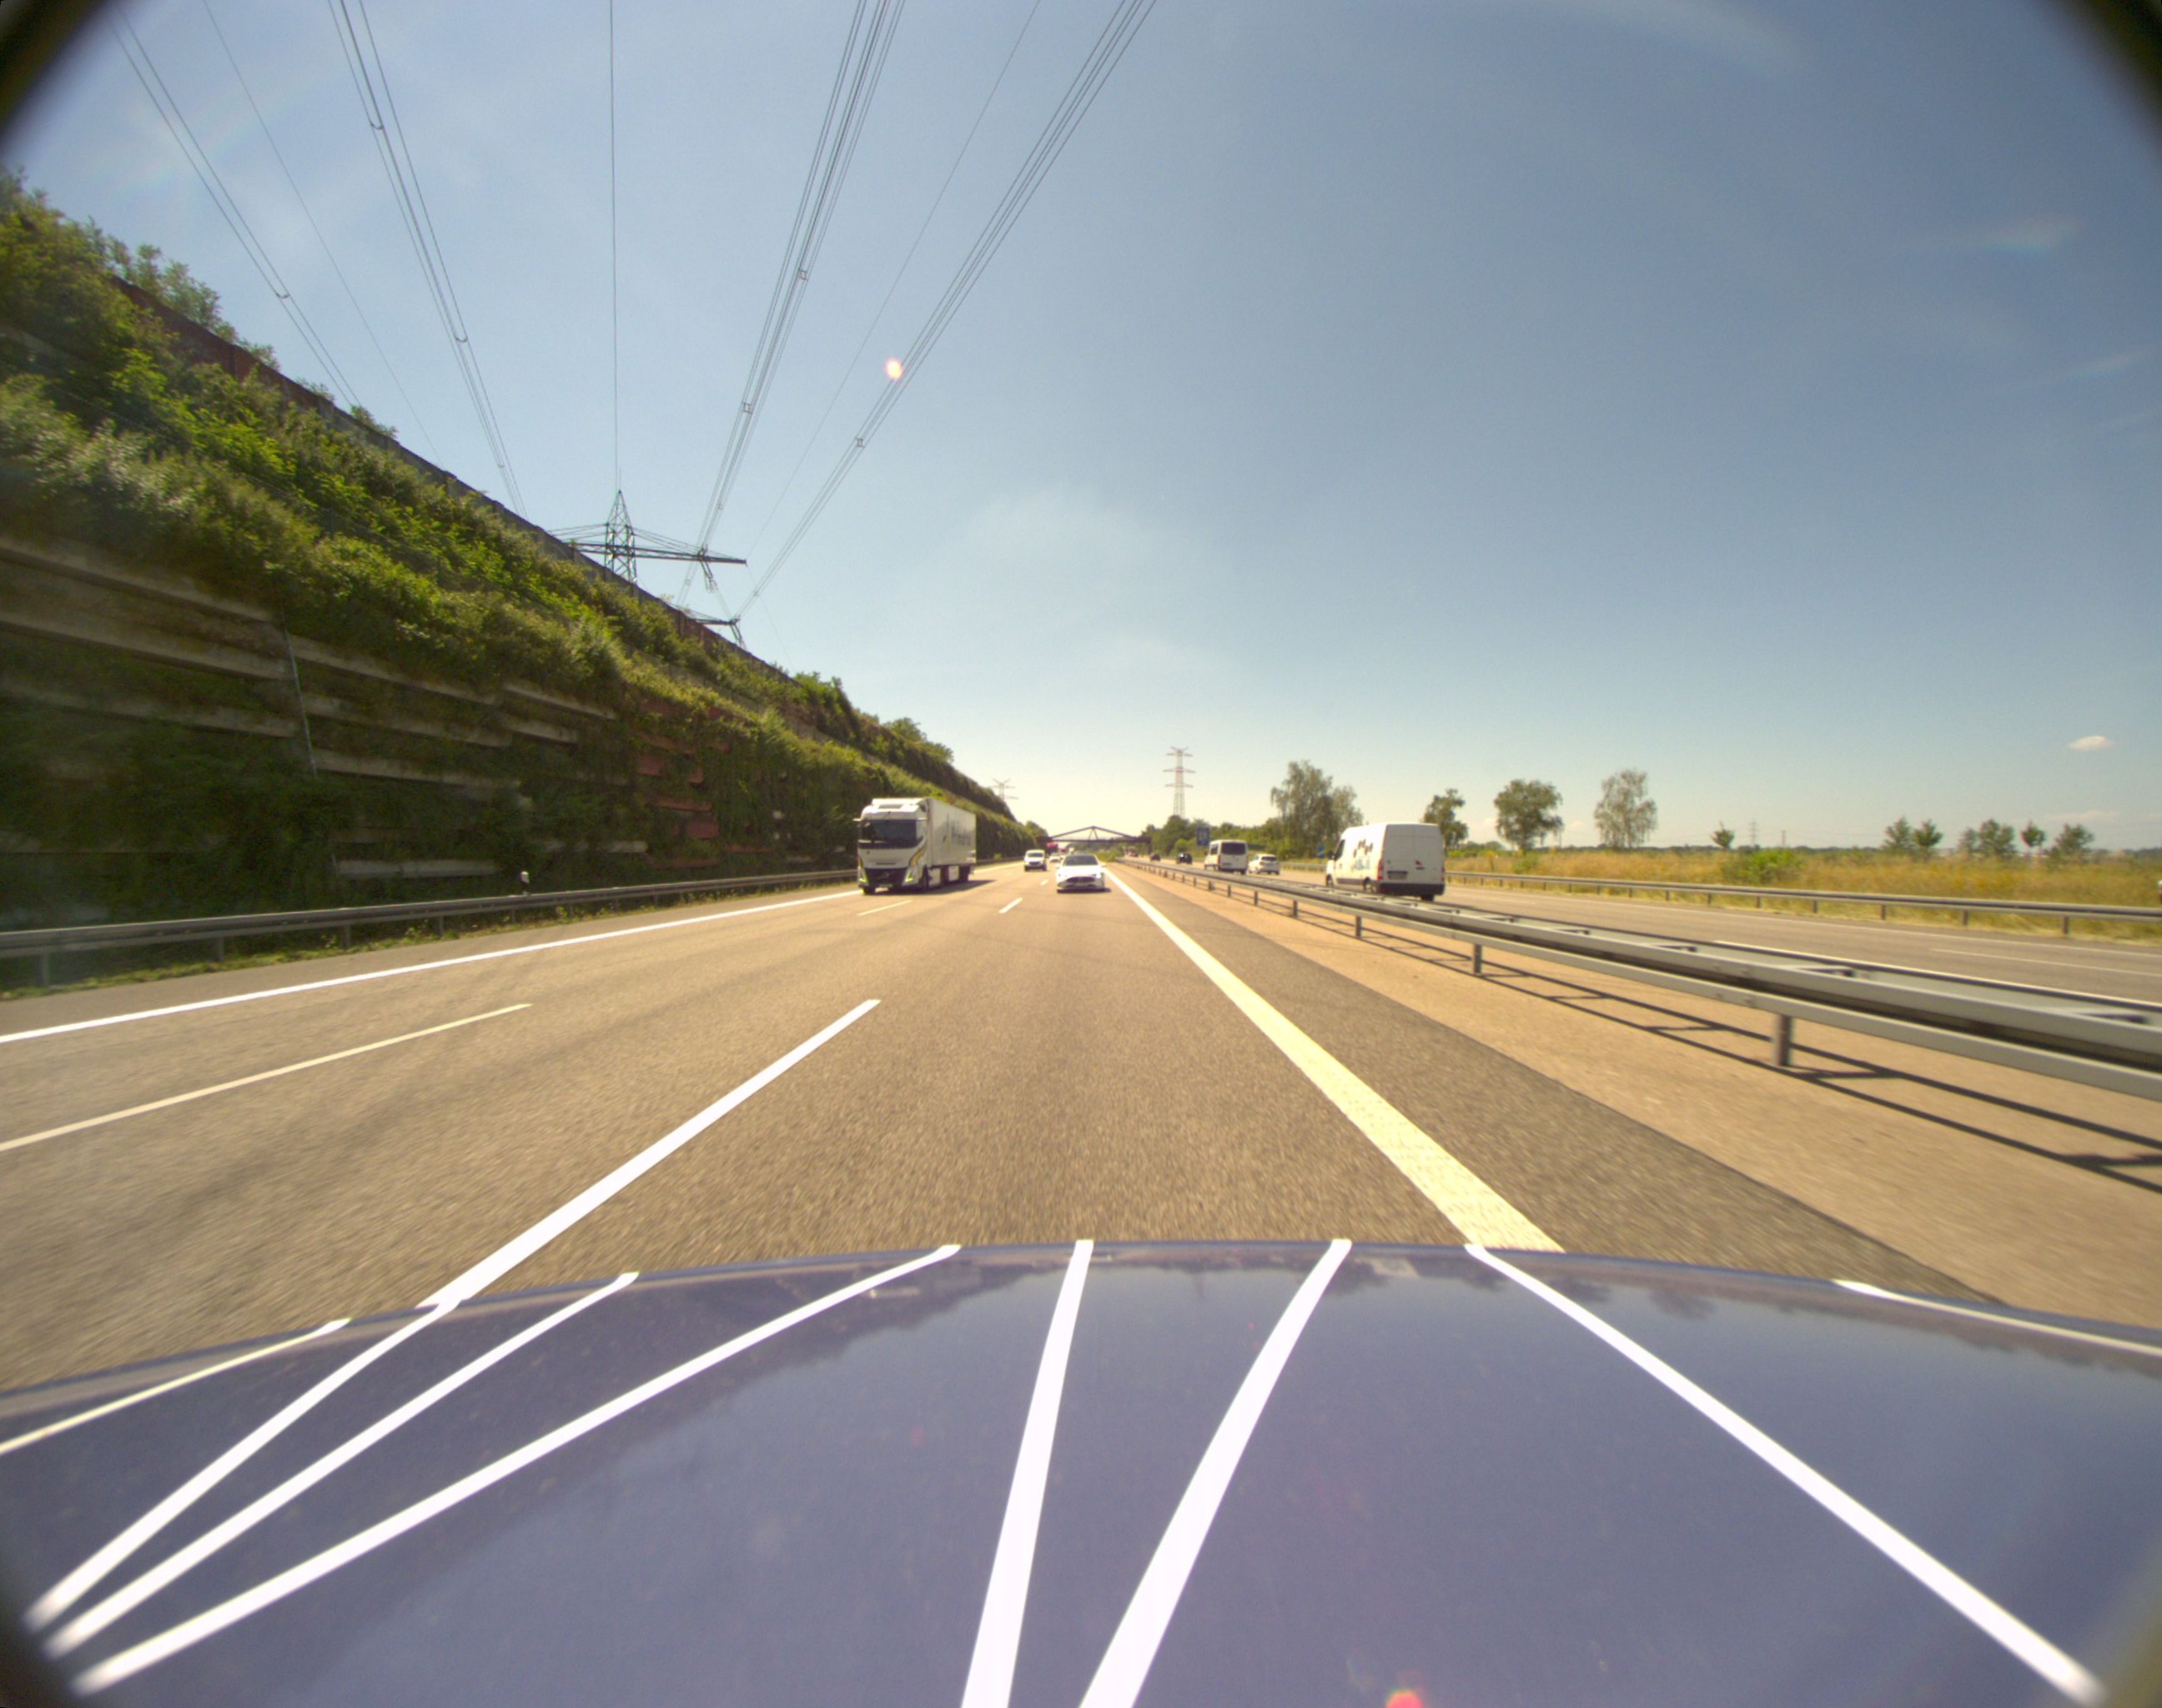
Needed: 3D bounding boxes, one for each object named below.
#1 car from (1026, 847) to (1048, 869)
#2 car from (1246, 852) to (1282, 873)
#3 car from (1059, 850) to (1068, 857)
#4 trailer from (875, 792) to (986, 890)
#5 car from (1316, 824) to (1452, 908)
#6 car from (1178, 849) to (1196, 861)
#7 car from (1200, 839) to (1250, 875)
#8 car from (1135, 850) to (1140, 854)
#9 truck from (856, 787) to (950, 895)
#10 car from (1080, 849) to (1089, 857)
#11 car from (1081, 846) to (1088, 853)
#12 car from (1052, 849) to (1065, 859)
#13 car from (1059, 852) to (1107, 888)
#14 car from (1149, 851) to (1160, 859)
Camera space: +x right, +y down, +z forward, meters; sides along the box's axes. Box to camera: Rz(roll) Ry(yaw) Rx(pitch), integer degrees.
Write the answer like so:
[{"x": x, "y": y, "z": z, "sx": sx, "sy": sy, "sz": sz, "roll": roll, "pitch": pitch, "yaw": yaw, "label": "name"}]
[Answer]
[{"x": -3.803, "y": 0.338, "z": 66.219, "sx": 1.784, "sy": 1.783, "sz": 3.999, "roll": -1, "pitch": 0, "yaw": -1, "label": "car"}, {"x": 14.431, "y": 0.607, "z": 60.031, "sx": 1.712, "sy": 1.515, "sz": 4.513, "roll": 2, "pitch": 1, "yaw": 0, "label": "car"}, {"x": -3.488, "y": -0.151, "z": 155.538, "sx": 1.784, "sy": 1.475, "sz": 3.999, "roll": -1, "pitch": 0, "yaw": -1, "label": "car"}, {"x": -7.476, "y": -0.601, "z": 40.955, "sx": 2.521, "sy": 4.187, "sz": 17.025, "roll": 0, "pitch": 0, "yaw": 0, "label": "trailer"}, {"x": 9.831, "y": 0.331, "z": 25.324, "sx": 2.053, "sy": 2.424, "sz": 6.068, "roll": 1, "pitch": 1, "yaw": 0, "label": "car"}, {"x": 14.663, "y": 0.148, "z": 105.721, "sx": 1.845, "sy": 1.620, "sz": 4.413, "roll": 2, "pitch": 0, "yaw": 0, "label": "car"}, {"x": 9.634, "y": 0.152, "z": 51.339, "sx": 2.114, "sy": 2.284, "sz": 6.706, "roll": 0, "pitch": 0, "yaw": 0, "label": "car"}, {"x": 19.204, "y": -0.662, "z": 258.230, "sx": 1.545, "sy": 1.441, "sz": 4.798, "roll": 1, "pitch": 0, "yaw": 0, "label": "car"}, {"x": -7.515, "y": -0.539, "z": 32.880, "sx": 2.514, "sy": 4.196, "sz": 6.255, "roll": 0, "pitch": 1, "yaw": 1, "label": "truck"}, {"x": 0.708, "y": -0.157, "z": 150.790, "sx": 1.784, "sy": 1.475, "sz": 3.999, "roll": 1, "pitch": 0, "yaw": -1, "label": "car"}, {"x": 0.946, "y": -1.341, "z": 215.216, "sx": 1.998, "sy": 2.002, "sz": 3.999, "roll": -2, "pitch": 1, "yaw": 1, "label": "car"}, {"x": -3.440, "y": -0.061, "z": 116.408, "sx": 1.784, "sy": 1.475, "sz": 3.999, "roll": -1, "pitch": 0, "yaw": -1, "label": "car"}, {"x": 0.042, "y": 0.675, "z": 33.849, "sx": 1.999, "sy": 1.474, "sz": 4.107, "roll": -1, "pitch": 0, "yaw": -1, "label": "car"}, {"x": 13.739, "y": 0.131, "z": 142.363, "sx": 1.622, "sy": 1.451, "sz": 4.283, "roll": 3, "pitch": 0, "yaw": -1, "label": "car"}]
